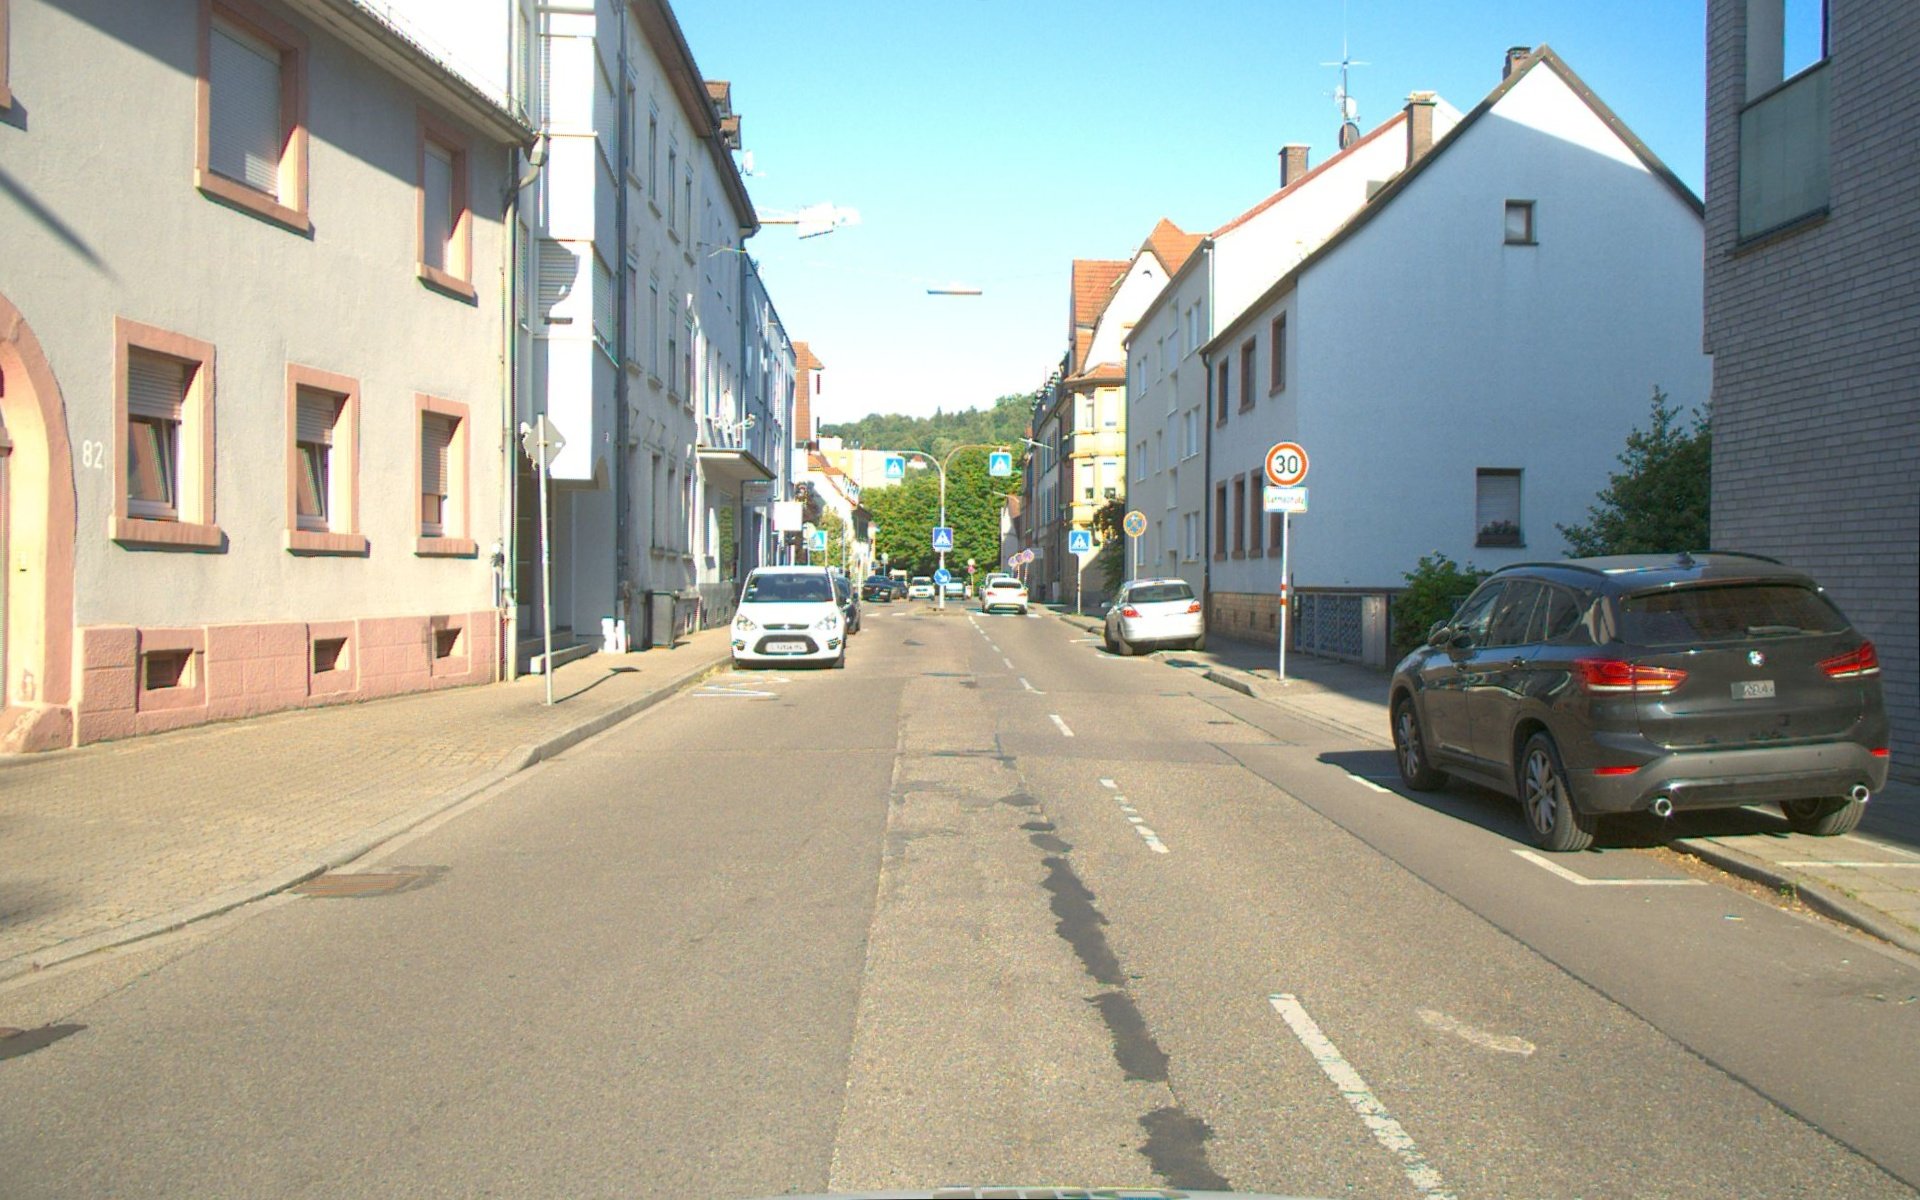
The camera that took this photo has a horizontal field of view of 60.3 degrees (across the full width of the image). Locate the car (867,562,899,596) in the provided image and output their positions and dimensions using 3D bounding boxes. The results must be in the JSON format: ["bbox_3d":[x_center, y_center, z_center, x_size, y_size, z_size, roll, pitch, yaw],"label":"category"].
[{"bbox_3d":[-4.882,-1.334,104.416,1.954,2.048,3.998,1,1,-3],"label":"car"}]

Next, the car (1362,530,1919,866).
[{"bbox_3d":[4.141,0.446,10.793,1.817,1.664,4.622,-2,1,-1],"label":"car"}]

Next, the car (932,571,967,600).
[{"bbox_3d":[-0.787,-1.076,119.534,1.957,2.049,3.991,0,1,-10],"label":"car"}]

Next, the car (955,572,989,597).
[{"bbox_3d":[0.983,-1.312,138.648,1.959,2.049,3.988,1,1,-12],"label":"car"}]

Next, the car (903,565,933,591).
[{"bbox_3d":[-2.896,-1.509,114.128,1.772,1.731,4.188,-1,1,-5],"label":"car"}]

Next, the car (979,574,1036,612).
[{"bbox_3d":[1.877,-0.309,66.910,1.954,1.492,3.997,0,1,-4],"label":"car"}]

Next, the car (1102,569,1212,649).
[{"bbox_3d":[3.999,0.139,34.183,1.706,1.518,4.438,-1,1,0],"label":"car"}]

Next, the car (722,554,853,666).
[{"bbox_3d":[-2.821,0.106,27.859,1.954,1.676,5.218,1,1,-4],"label":"car"}]

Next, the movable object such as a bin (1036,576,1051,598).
[{"bbox_3d":[5.534,-0.884,109.788,0.854,1.401,0.684,-1,2,-5],"label":"movable object such as a bin"}]

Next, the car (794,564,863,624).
[{"bbox_3d":[-3.484,-0.170,44.385,1.696,1.525,3.957,0,0,-2],"label":"car"}]

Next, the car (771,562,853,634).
[{"bbox_3d":[-3.398,-0.081,38.439,1.626,1.552,3.808,1,1,-2],"label":"car"}]

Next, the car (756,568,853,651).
[{"bbox_3d":[-3.076,0.138,33.442,1.729,1.521,4.124,-2,1,-3],"label":"car"}]
